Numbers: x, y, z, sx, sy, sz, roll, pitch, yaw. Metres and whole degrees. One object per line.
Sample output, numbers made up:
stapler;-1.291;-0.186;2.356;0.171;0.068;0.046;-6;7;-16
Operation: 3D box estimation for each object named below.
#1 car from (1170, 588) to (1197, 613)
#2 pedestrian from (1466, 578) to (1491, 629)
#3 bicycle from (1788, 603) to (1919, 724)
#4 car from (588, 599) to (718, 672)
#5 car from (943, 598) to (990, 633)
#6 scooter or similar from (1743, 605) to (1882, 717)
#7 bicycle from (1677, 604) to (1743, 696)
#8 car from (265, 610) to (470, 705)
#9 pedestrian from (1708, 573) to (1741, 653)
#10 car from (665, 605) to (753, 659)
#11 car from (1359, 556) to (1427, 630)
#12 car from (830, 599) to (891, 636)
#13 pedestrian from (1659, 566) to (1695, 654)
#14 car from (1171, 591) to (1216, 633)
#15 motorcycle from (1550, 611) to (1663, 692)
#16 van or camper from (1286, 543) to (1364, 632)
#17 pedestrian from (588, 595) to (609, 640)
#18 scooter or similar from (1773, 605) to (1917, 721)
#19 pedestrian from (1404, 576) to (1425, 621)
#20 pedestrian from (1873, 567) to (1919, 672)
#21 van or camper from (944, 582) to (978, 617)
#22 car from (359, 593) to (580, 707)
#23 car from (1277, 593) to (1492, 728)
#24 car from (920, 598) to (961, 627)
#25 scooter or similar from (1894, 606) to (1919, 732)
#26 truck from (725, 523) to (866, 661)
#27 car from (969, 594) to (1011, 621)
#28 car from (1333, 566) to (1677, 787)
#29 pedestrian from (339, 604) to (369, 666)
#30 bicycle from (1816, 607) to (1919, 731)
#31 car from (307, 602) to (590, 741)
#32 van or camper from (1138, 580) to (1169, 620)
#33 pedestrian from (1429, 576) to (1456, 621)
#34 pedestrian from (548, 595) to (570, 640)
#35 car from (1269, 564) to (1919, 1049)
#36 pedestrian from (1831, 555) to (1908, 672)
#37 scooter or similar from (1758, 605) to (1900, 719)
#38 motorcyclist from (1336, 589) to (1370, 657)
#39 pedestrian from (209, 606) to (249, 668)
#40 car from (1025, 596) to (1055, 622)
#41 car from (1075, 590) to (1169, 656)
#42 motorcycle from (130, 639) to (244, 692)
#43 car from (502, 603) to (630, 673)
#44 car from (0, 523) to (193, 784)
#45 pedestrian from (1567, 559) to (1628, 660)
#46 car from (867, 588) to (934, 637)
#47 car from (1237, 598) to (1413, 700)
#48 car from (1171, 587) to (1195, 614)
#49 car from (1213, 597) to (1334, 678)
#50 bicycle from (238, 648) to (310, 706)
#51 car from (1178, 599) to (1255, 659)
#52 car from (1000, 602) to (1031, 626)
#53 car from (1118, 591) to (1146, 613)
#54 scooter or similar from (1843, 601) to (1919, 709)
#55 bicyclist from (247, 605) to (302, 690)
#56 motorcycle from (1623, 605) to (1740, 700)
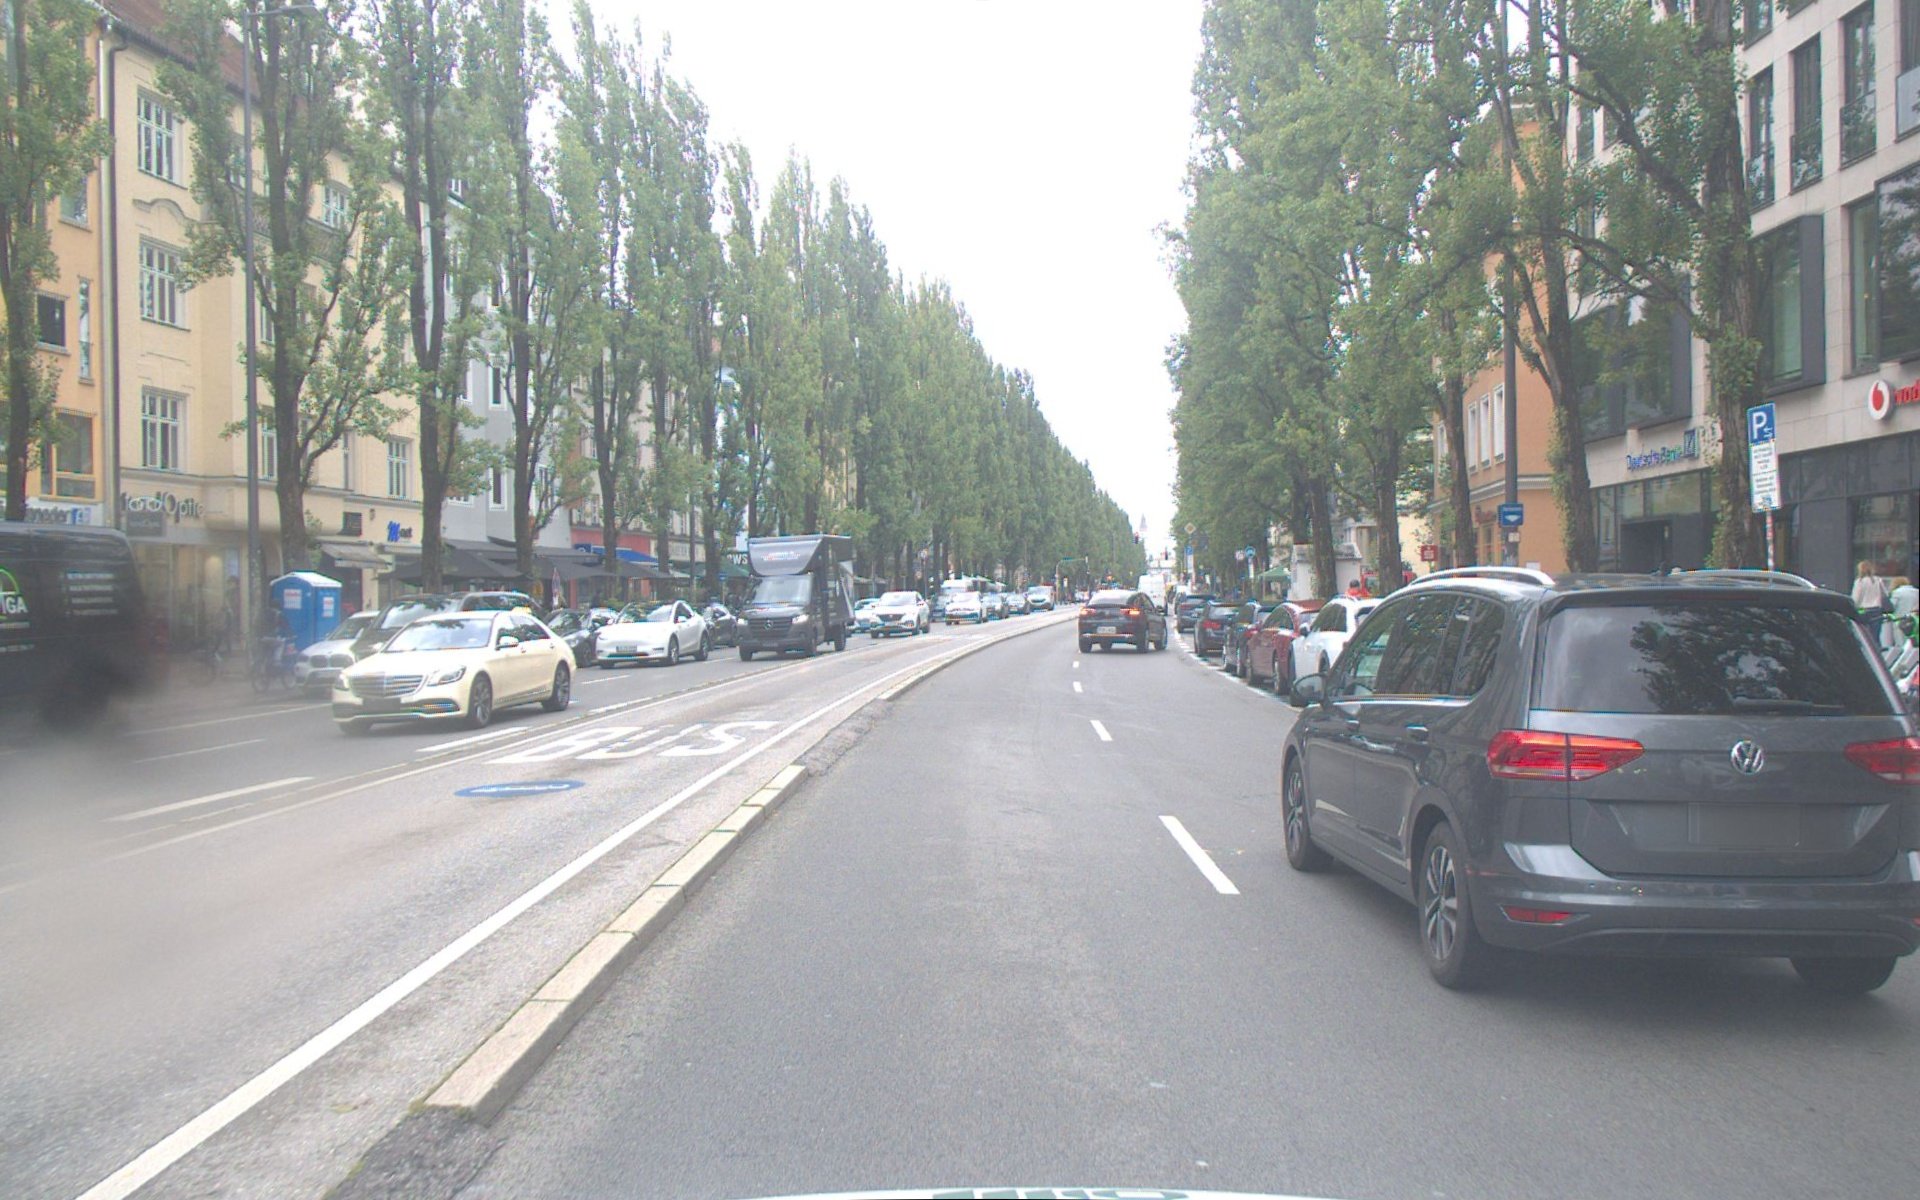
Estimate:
car;15.433;0.014;114.252;1.766;1.624;4.003;-1;0;7
pedestrian;16.916;0.112;54.006;0.714;1.654;0.805;-2;0;17
bicycle;9.714;0.664;17.670;1.448;1.229;0.535;-2;0;-2
car;-7.822;0.861;42.635;1.951;1.680;4.639;-2;0;7
car;0.363;0.789;85.558;1.898;1.671;4.467;-2;0;6
scooter or similar;9.679;0.686;18.789;1.405;1.222;0.311;-2;0;-2
bicycle;10.457;0.678;23.043;0.536;1.210;1.449;-2;0;35
car;-11.646;1.078;32.853;1.951;1.658;4.385;-2;0;8
pedestrian;14.678;0.245;31.746;0.493;1.517;0.546;-1;0;32
car;-8.396;1.055;55.722;1.822;1.658;4.171;-2;0;7
car;14.878;-0.253;56.645;1.861;2.368;4.827;-2;0;19
car;-4.356;0.749;73.034;1.898;1.519;4.460;-2;0;6
pedestrian;13.759;0.188;31.753;0.540;1.666;0.557;-1;0;32
car;9.297;0.458;66.019;1.589;1.592;4.374;-1;0;6
motorcycle;9.867;0.772;25.304;0.675;1.176;1.634;-2;0;-20
van or camper;13.752;-0.481;62.639;2.408;3.166;4.719;-2;0;8
pedestrian;-15.490;0.742;70.876;0.624;1.894;0.648;-1;0;7
scooter or similar;9.695;0.687;18.129;1.405;1.222;0.311;-2;0;-2
pedestrian;16.768;-0.044;60.984;0.658;1.641;0.641;-1;0;10
pedestrian;15.256;0.296;26.524;0.780;1.649;0.715;-1;0;-13
van or camper;0.071;-0.052;121.507;1.951;2.501;4.254;-1;0;7
car;-9.267;0.871;31.879;1.951;1.896;5.715;-3;0;6
car;5.418;0.700;21.724;1.772;1.526;4.808;-2;0;3
car;-1.094;0.744;96.542;1.809;1.592;4.215;-2;-1;7
scooter or similar;10.046;0.676;16.669;1.029;1.247;0.379;-1;0;-1
truck;-4.340;-0.211;45.079;2.242;3.381;7.162;-2;0;7
car;1.772;0.400;97.215;1.951;1.457;4.776;-2;0;7
car;4.842;0.627;15.430;1.884;1.730;4.651;0;-1;3
pedestrian;-17.669;1.006;48.221;0.527;1.777;0.756;0;0;7
bicycle;9.743;0.703;17.133;1.448;1.229;0.535;-2;0;-2
car;-6.984;0.906;23.276;1.952;1.616;5.198;-3;0;4
van or camper;12.659;0.015;108.151;1.991;2.519;4.002;-1;-1;7
pedestrian;17.686;-0.059;60.632;0.803;1.641;0.780;-1;0;10
pedestrian;-15.781;0.679;65.078;0.624;1.729;0.648;-1;0;7
car;2.740;0.697;7.732;1.725;1.642;4.182;0;0;-1
pedestrian;14.411;0.206;26.210;0.780;1.803;0.680;-1;0;-13
scooter or similar;9.691;0.682;18.451;1.405;1.222;0.311;-2;0;-2
motorcyclist;8.534;0.492;35.899;0.552;1.431;0.766;-2;0;3
pedestrian;-19.278;0.975;43.629;0.620;1.589;0.816;-1;0;8
car;6.351;0.706;131.099;1.951;1.968;4.921;-3;-1;7
car;4.519;0.596;45.566;1.840;1.670;4.586;-1;0;15
motorcycle;-15.728;1.327;33.690;2.020;1.054;0.485;1;-1;-14
car;-10.169;0.943;43.010;1.822;1.658;4.171;-2;0;7
car;-10.789;0.563;17.237;2.124;2.651;6.069;-1;0;7
pedestrian;12.425;0.184;32.265;0.800;1.902;0.939;-2;0;3
car;-2.230;0.441;62.847;1.821;1.741;4.539;-2;0;7
car;5.867;0.731;27.164;1.891;1.475;4.805;-1;0;1
car;17.718;0.058;131.525;1.766;2.027;4.003;0;-1;7
car;6.090;0.690;32.575;1.808;1.453;4.427;-1;0;4
bicycle;-13.418;1.489;32.379;0.498;1.024;1.768;-1;0;6
car;6.691;0.727;43.493;1.697;1.419;4.435;-2;0;5
car;3.663;0.910;108.685;1.675;1.438;3.725;-1;0;6
car;13.900;0.155;133.488;1.951;1.747;4.003;-2;0;9
scooter or similar;11.242;0.637;19.469;1.355;1.232;0.554;-2;0;4
bicyclist;-13.427;0.917;32.417;0.486;1.608;1.108;-1;0;6
motorcycle;10.982;0.779;25.227;0.675;1.380;1.634;-1;0;-20
